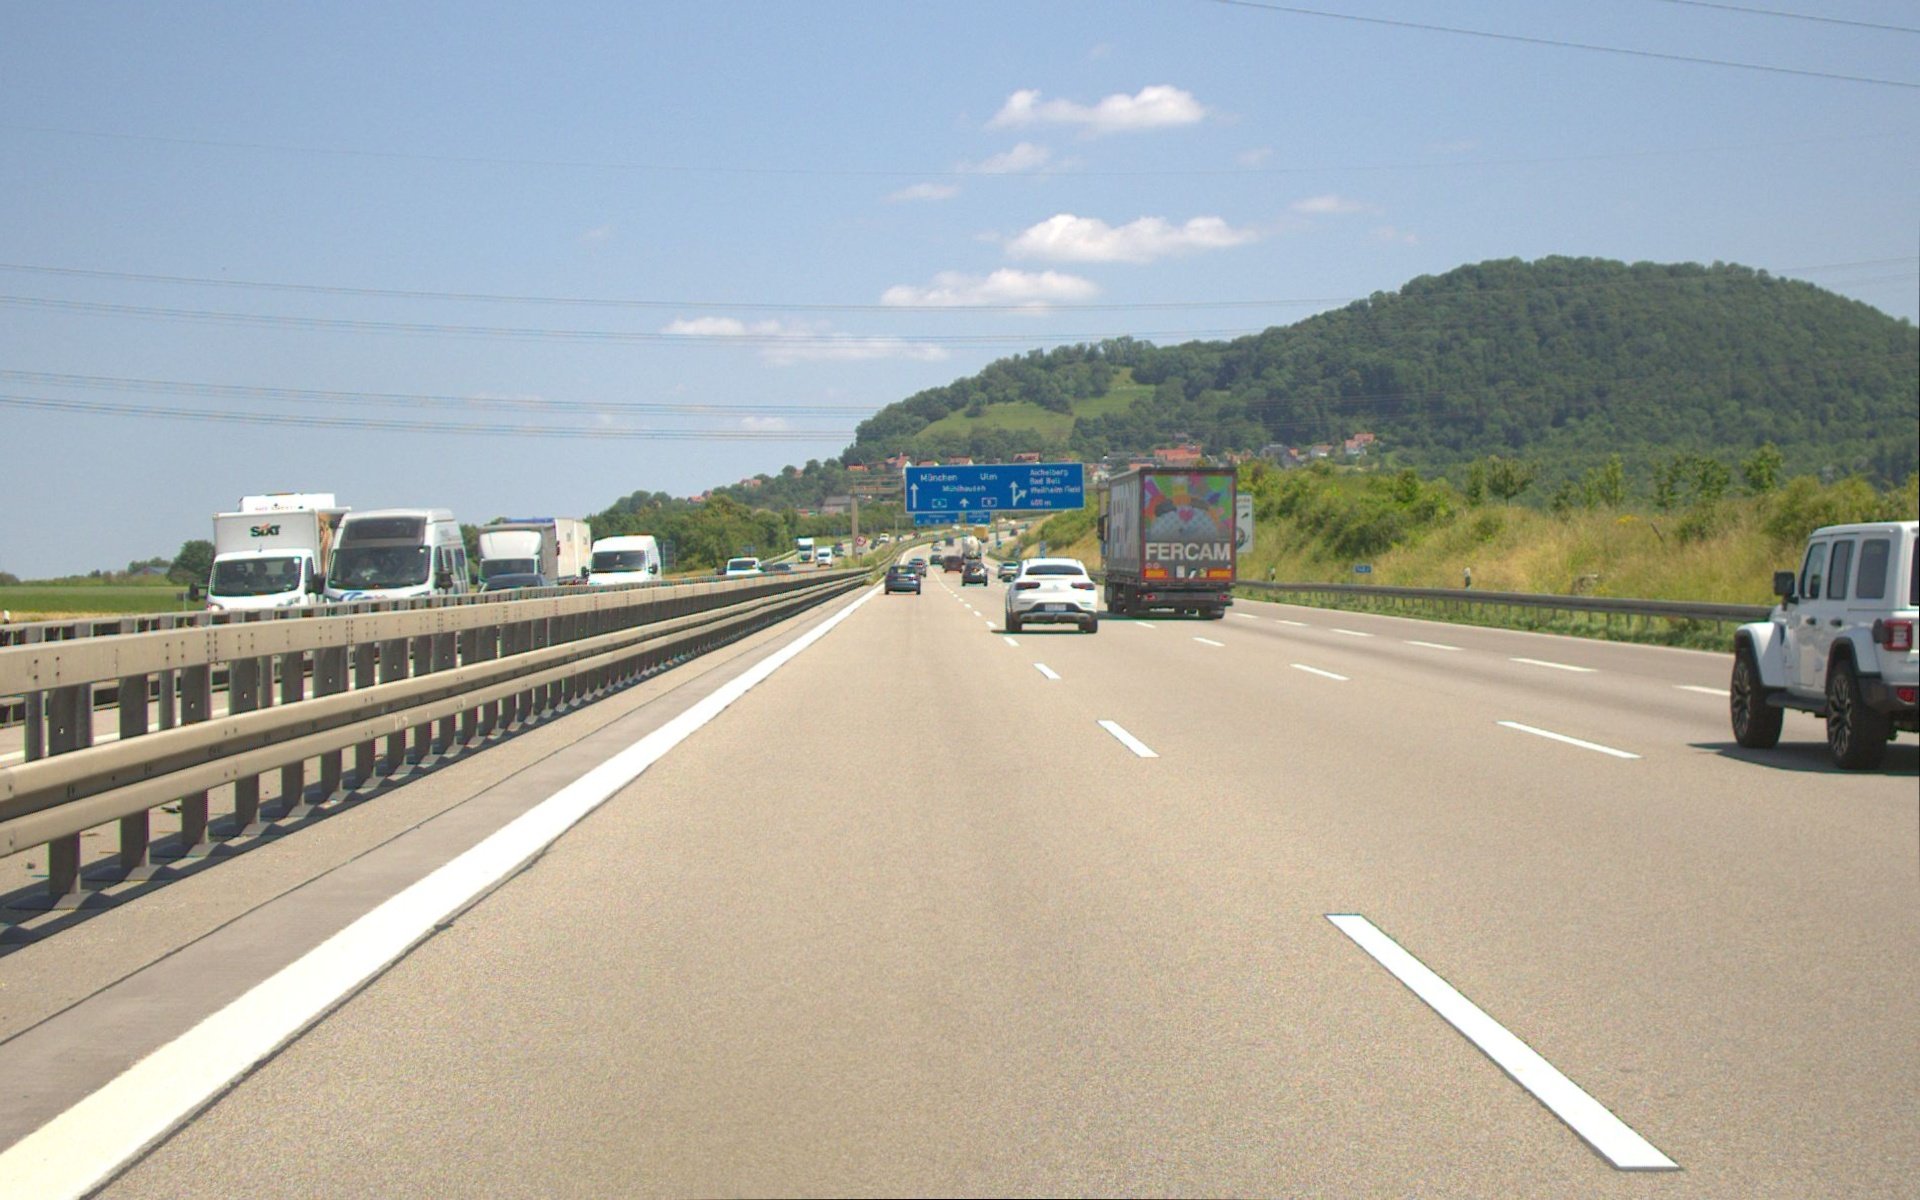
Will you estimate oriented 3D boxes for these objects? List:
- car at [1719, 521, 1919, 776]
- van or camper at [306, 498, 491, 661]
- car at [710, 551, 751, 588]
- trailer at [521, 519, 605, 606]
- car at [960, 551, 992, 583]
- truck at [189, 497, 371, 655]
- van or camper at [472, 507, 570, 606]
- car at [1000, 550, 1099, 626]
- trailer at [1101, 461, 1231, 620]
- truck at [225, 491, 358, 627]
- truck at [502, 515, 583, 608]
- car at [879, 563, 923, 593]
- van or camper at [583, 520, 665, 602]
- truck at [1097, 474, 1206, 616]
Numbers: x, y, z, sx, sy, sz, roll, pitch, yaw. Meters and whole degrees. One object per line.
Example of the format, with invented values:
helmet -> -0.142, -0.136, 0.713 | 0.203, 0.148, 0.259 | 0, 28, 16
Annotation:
car -> 7.359, 0.304, 26.356 | 2.034, 1.798, 4.251 | 0, 1, -2
van or camper -> -10.071, -0.402, 62.282 | 2.157, 2.725, 7.296 | -2, 1, -1
car -> -13.003, -1.723, 195.072 | 1.984, 2.003, 4.649 | -2, 1, -1
trailer -> -19.057, -1.772, 165.633 | 2.832, 4.032, 11.666 | 1, 0, -1
car -> 1.031, -2.135, 221.387 | 1.993, 2.007, 4.000 | 1, 0, 0
truck -> -13.913, -0.482, 70.814 | 2.249, 2.999, 7.428 | -2, 0, -1
van or camper -> -14.723, -1.465, 115.755 | 2.340, 3.154, 7.402 | -2, 1, -1
car -> 1.903, -0.257, 74.620 | 1.914, 1.575, 5.231 | 1, 0, -1
trailer -> 5.622, -1.574, 95.788 | 2.725, 4.141, 11.808 | 1, 0, -1
truck -> -18.685, -1.122, 96.397 | 2.717, 3.678, 6.057 | 1, 0, -2
truck -> -18.896, -1.725, 156.012 | 2.820, 4.076, 7.532 | 1, 0, -1
car -> -2.748, -1.029, 160.648 | 1.993, 1.384, 4.000 | 1, 0, 0
van or camper -> -10.897, -1.246, 111.951 | 2.123, 2.566, 6.122 | 1, 0, -1
truck -> 5.598, -1.578, 101.460 | 2.752, 4.007, 6.788 | 1, 0, 0
